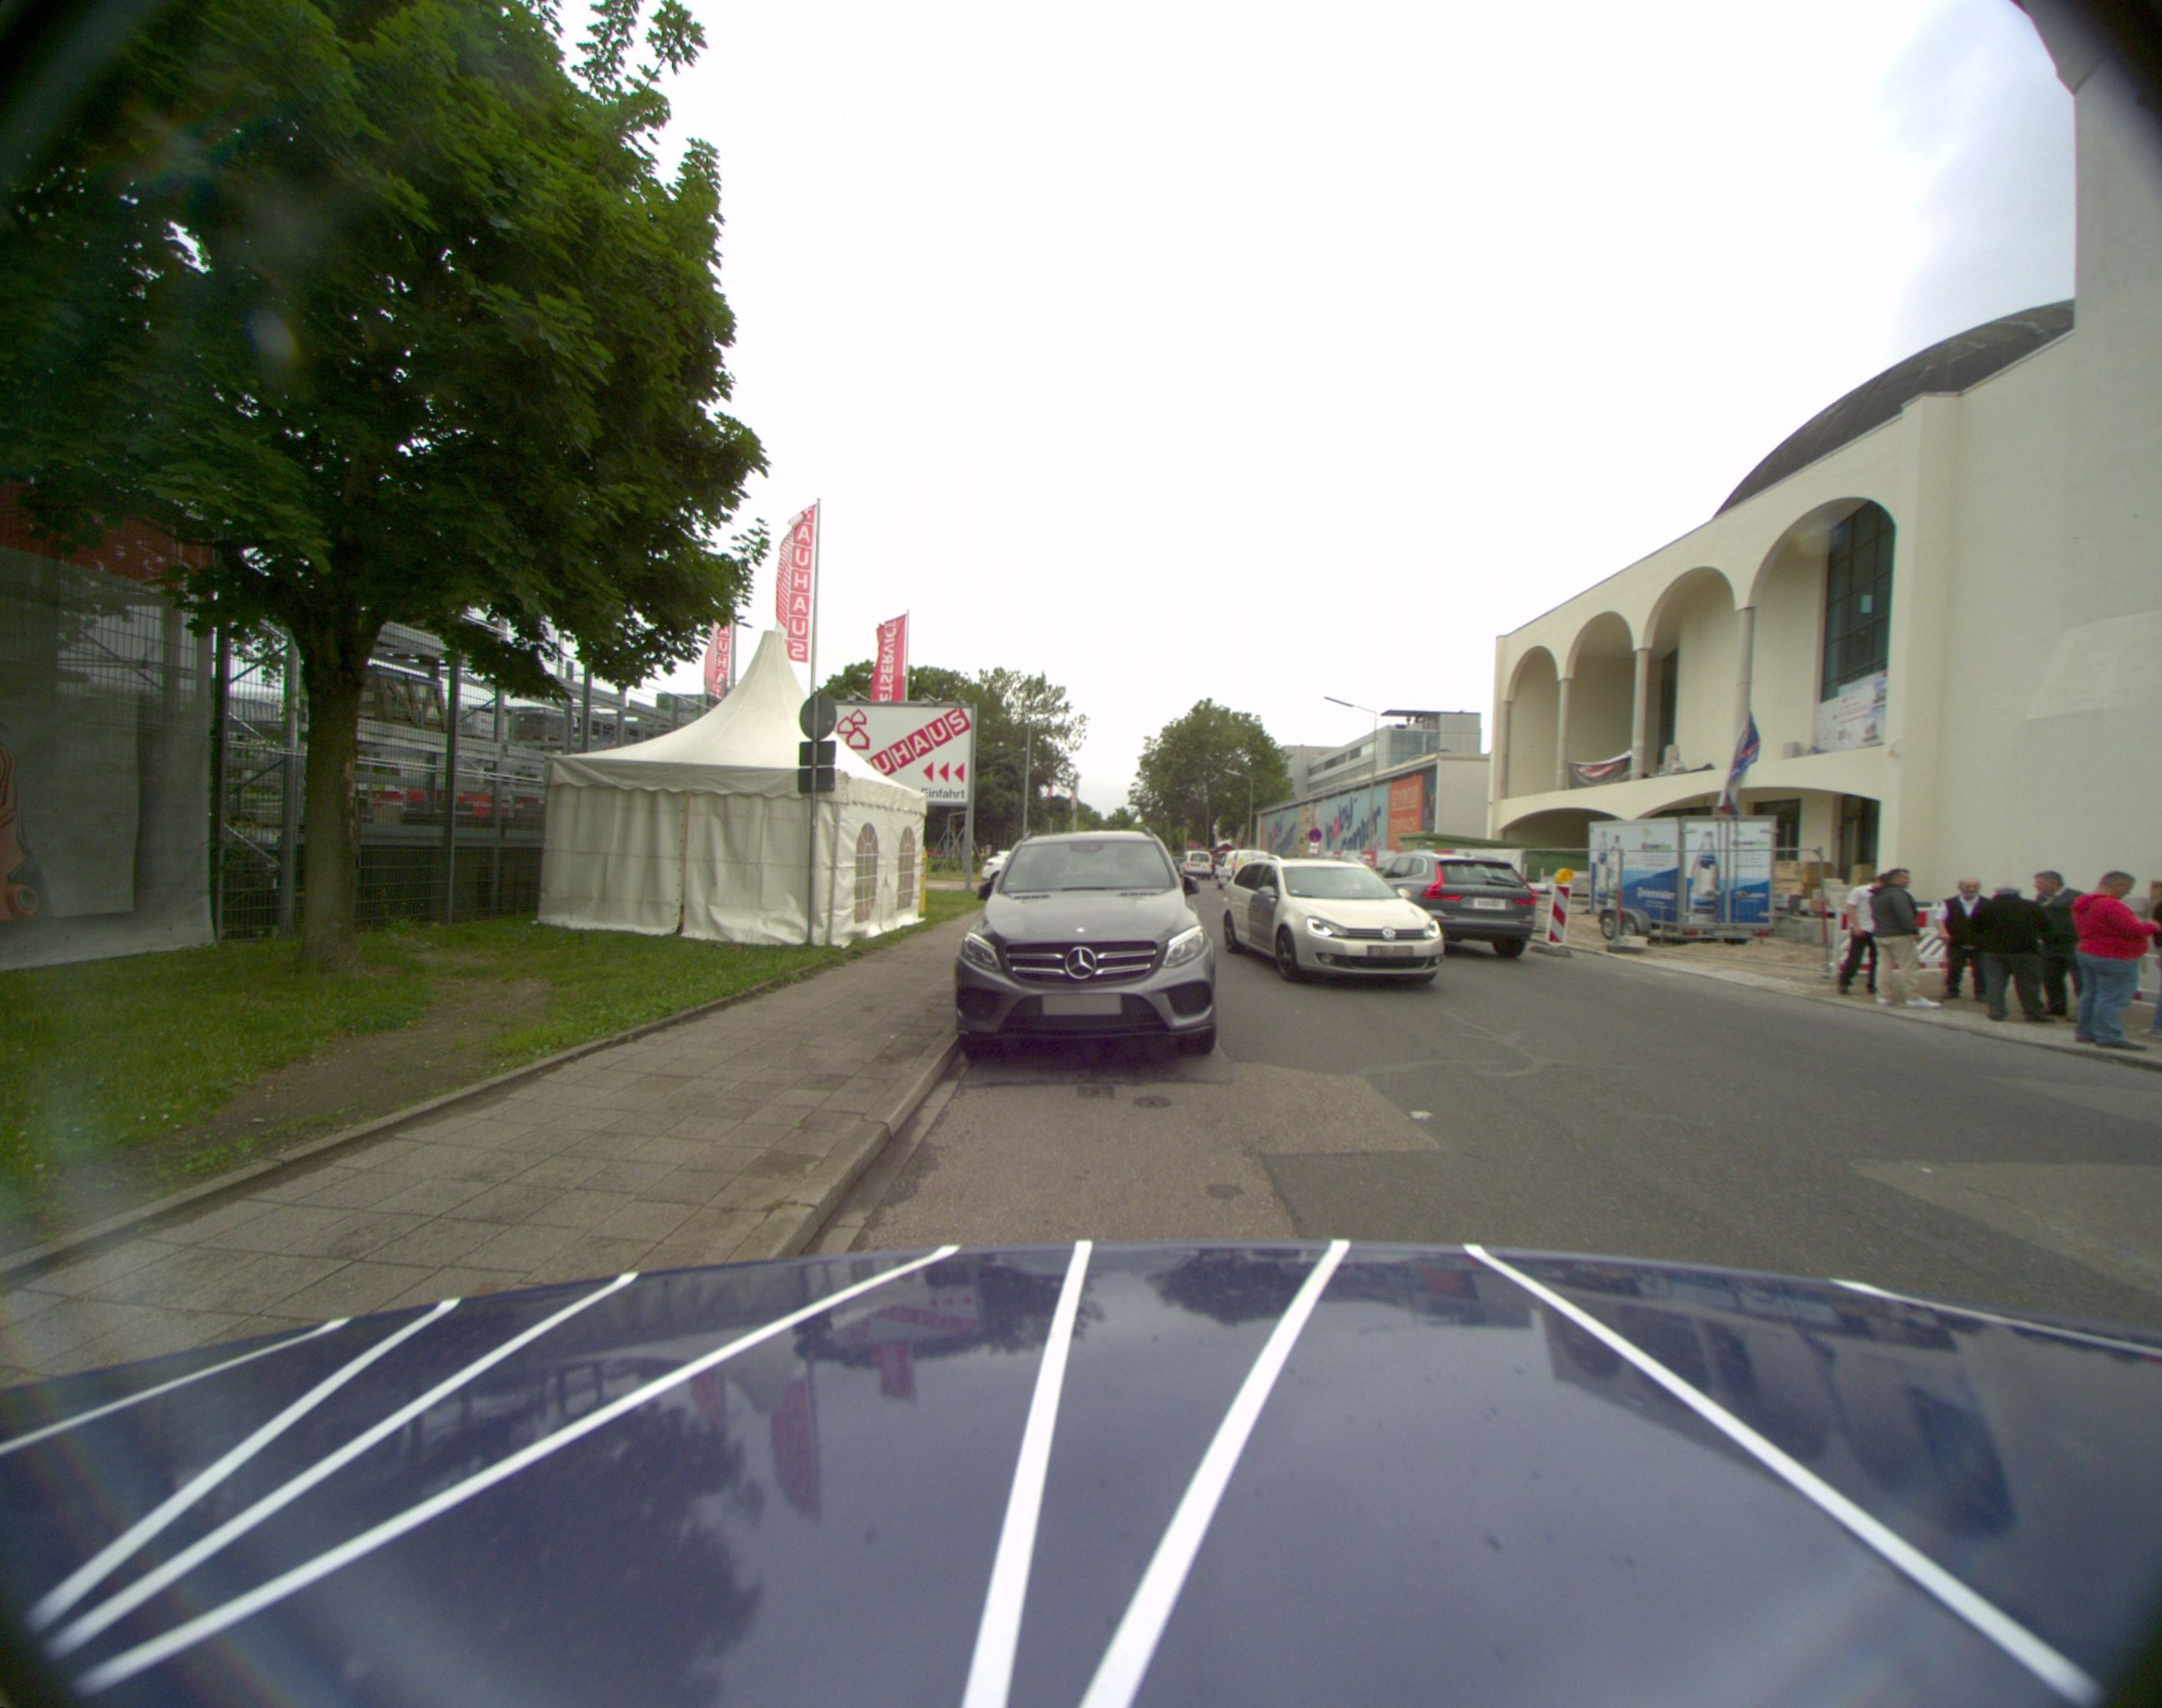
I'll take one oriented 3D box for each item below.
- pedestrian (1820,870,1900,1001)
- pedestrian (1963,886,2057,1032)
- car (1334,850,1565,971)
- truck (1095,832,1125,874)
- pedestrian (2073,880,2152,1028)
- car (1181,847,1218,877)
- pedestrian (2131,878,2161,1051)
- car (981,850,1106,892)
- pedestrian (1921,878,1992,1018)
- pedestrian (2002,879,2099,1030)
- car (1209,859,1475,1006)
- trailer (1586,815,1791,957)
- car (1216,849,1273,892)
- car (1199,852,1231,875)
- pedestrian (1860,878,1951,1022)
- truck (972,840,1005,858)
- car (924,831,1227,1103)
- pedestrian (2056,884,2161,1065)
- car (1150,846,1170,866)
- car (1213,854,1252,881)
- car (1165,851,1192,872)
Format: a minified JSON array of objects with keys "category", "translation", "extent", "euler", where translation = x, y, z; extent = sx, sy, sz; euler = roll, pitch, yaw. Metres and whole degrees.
[{"category":"pedestrian","translation":[10.736,1.099,10.499],"extent":[0.689,1.738,0.492],"euler":[-2,-2,41]},{"category":"pedestrian","translation":[10.660,1.171,8.738],"extent":[0.570,1.601,0.492],"euler":[-2,-2,41]},{"category":"car","translation":[6.179,0.827,13.468],"extent":[1.938,1.674,4.495],"euler":[3,1,2]},{"category":"truck","translation":[1.884,-0.086,49.646],"extent":[1.852,2.597,4.000],"euler":[-1,1,2]},{"category":"pedestrian","translation":[11.990,1.136,8.844],"extent":[0.541,1.603,0.489],"euler":[-6,5,-37]},{"category":"car","translation":[7.839,0.495,50.529],"extent":[1.799,1.797,4.383],"euler":[3,1,2]},{"category":"pedestrian","translation":[11.113,1.092,7.556],"extent":[0.689,1.707,0.694],"euler":[0,-1,-40]},{"category":"car","translation":[-1.388,0.617,28.301],"extent":[4.493,1.420,1.938],"euler":[1,2,-3]},{"category":"pedestrian","translation":[11.315,1.183,9.820],"extent":[0.492,1.738,0.527],"euler":[0,-2,-38]},{"category":"pedestrian","translation":[11.322,1.140,8.882],"extent":[0.411,1.682,0.572],"euler":[0,-2,-24]},{"category":"car","translation":[3.099,0.845,10.090],"extent":[1.758,1.443,4.294],"euler":[1,1,-5]},{"category":"trailer","translation":[12.477,0.591,15.892],"extent":[1.802,2.592,3.192],"euler":[2,1,5]},{"category":"car","translation":[7.129,0.661,33.512],"extent":[1.693,1.751,4.135],"euler":[2,1,2]},{"category":"car","translation":[10.603,0.727,60.560],"extent":[1.928,1.565,4.150],"euler":[5,1,3]},{"category":"pedestrian","translation":[10.443,1.183,9.651],"extent":[0.689,1.738,0.492],"euler":[-2,-2,41]},{"category":"truck","translation":[-12.508,-0.672,102.510],"extent":[1.994,2.383,4.009],"euler":[3,1,42]},{"category":"car","translation":[0.084,0.717,7.113],"extent":[1.913,1.731,4.481],"euler":[-1,0,3]},{"category":"pedestrian","translation":[10.127,1.138,7.440],"extent":[0.533,1.682,0.513],"euler":[0,-2,-18]},{"category":"car","translation":[8.863,0.202,85.264],"extent":[1.931,2.002,4.955],"euler":[2,1,3]},{"category":"car","translation":[10.320,0.880,52.117],"extent":[1.928,1.565,4.150],"euler":[5,1,3]},{"category":"car","translation":[7.671,0.568,60.348],"extent":[1.733,1.562,3.947],"euler":[3,1,3]}]
